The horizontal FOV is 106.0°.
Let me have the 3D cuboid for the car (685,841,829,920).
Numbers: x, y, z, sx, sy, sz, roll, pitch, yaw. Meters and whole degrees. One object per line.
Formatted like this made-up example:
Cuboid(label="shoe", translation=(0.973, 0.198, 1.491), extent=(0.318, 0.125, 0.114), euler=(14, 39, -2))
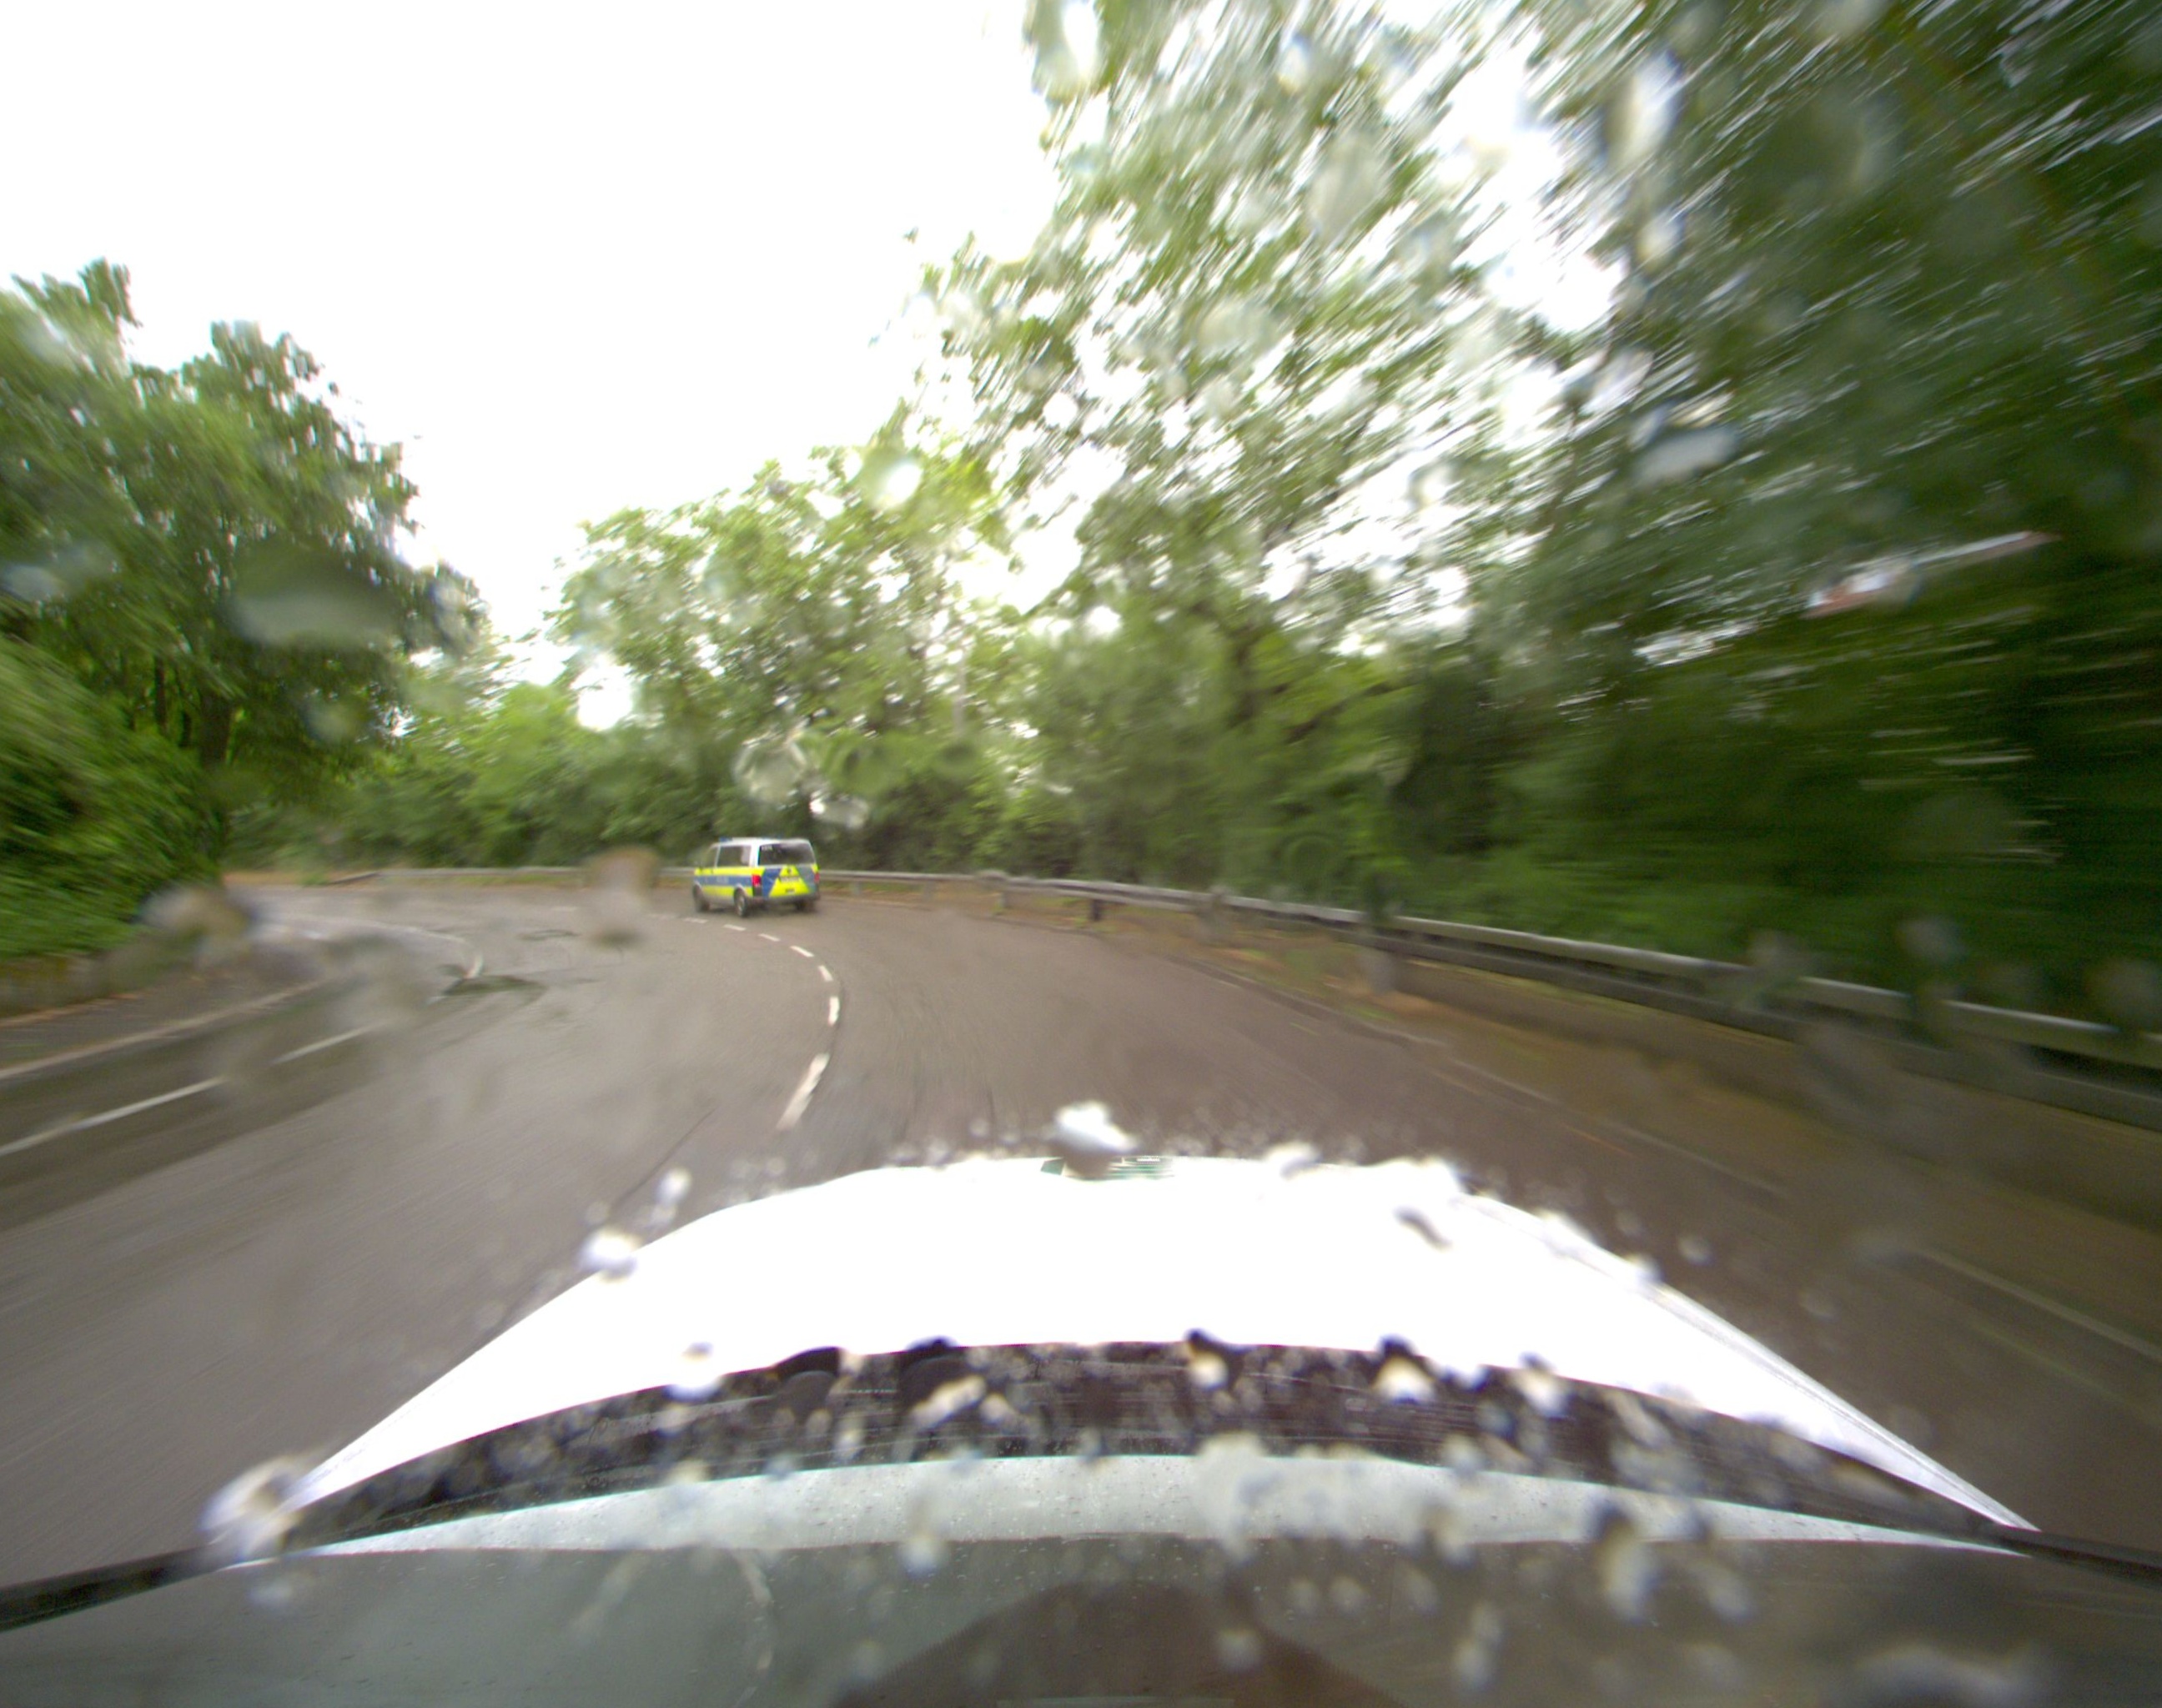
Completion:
Cuboid(label="car", translation=(-8.940, 0.702, 22.254), extent=(2.012, 1.893, 4.513), euler=(-2, 0, -45))
